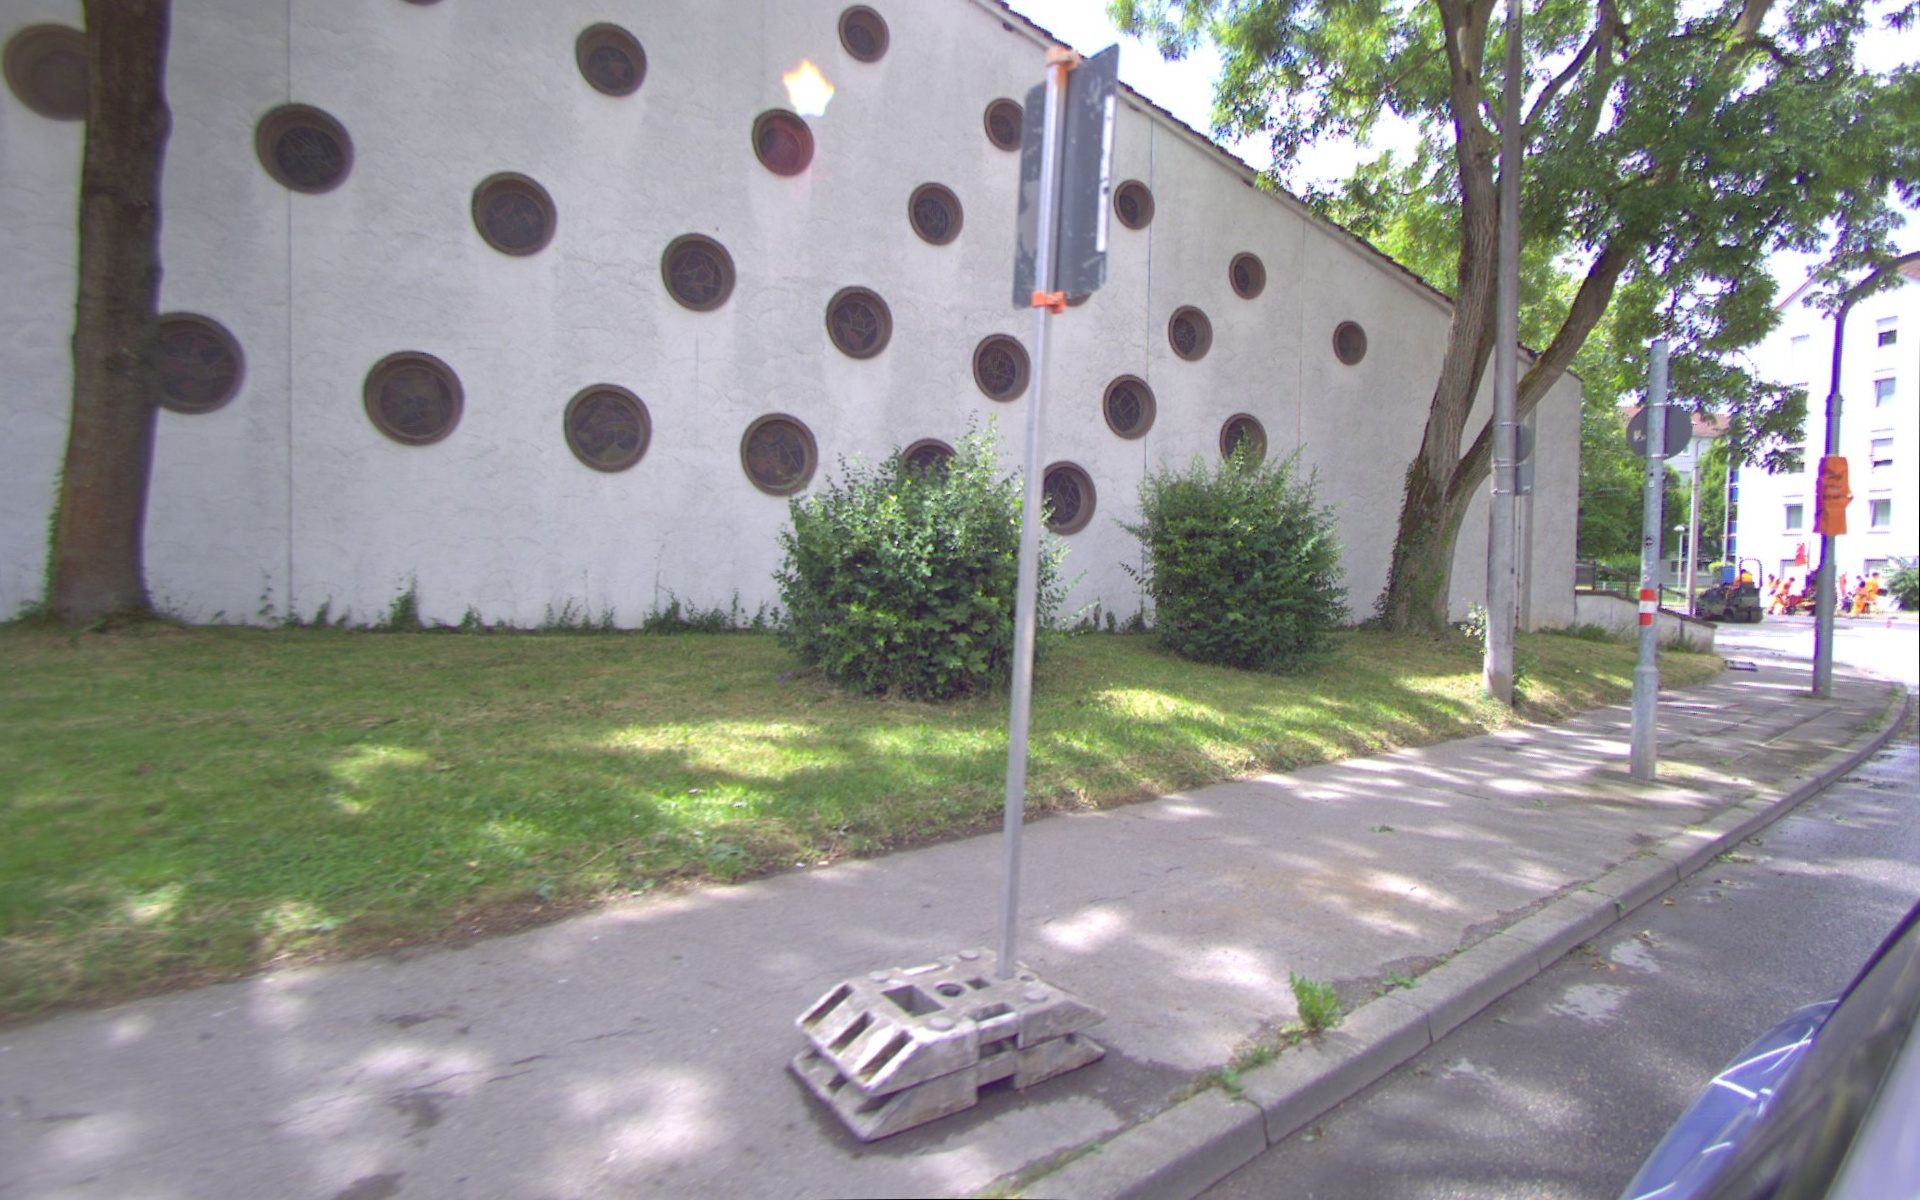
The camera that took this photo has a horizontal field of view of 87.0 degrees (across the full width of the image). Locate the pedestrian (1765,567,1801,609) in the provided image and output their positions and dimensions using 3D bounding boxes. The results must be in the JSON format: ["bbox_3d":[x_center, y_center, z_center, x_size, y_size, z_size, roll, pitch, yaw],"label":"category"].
[{"bbox_3d":[35.158,-0.515,43.237,0.738,1.738,0.920,0,1,-7],"label":"pedestrian"}]

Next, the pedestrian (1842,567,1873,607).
[{"bbox_3d":[39.096,-0.563,44.094,0.874,1.704,0.660,1,2,31],"label":"pedestrian"}]

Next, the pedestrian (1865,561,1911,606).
[{"bbox_3d":[38.675,-0.695,42.179,1.073,1.846,0.876,1,1,-13],"label":"pedestrian"}]

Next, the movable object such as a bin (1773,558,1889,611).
[{"bbox_3d":[35.134,-0.659,40.928,1.961,2.038,2.971,1,2,-3],"label":"movable object such as a bin"}]

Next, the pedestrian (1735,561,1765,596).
[{"bbox_3d":[28.501,-0.777,36.510,0.540,1.231,0.618,1,1,-2],"label":"pedestrian"}]

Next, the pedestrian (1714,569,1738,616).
[{"bbox_3d":[28.510,-0.283,37.678,0.461,1.702,0.560,-1,2,-9],"label":"pedestrian"}]

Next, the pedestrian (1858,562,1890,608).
[{"bbox_3d":[39.064,-0.636,43.254,0.875,1.931,0.659,2,2,34],"label":"pedestrian"}]

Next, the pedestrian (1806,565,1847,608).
[{"bbox_3d":[36.071,-0.571,42.141,0.843,1.738,0.919,0,1,-1],"label":"pedestrian"}]

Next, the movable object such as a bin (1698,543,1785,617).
[{"bbox_3d":[28.786,-0.746,37.356,1.295,2.626,2.364,0,1,-1],"label":"movable object such as a bin"}]

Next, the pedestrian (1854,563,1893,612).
[{"bbox_3d":[35.618,-0.491,39.474,0.767,1.862,0.770,1,1,-14],"label":"pedestrian"}]
